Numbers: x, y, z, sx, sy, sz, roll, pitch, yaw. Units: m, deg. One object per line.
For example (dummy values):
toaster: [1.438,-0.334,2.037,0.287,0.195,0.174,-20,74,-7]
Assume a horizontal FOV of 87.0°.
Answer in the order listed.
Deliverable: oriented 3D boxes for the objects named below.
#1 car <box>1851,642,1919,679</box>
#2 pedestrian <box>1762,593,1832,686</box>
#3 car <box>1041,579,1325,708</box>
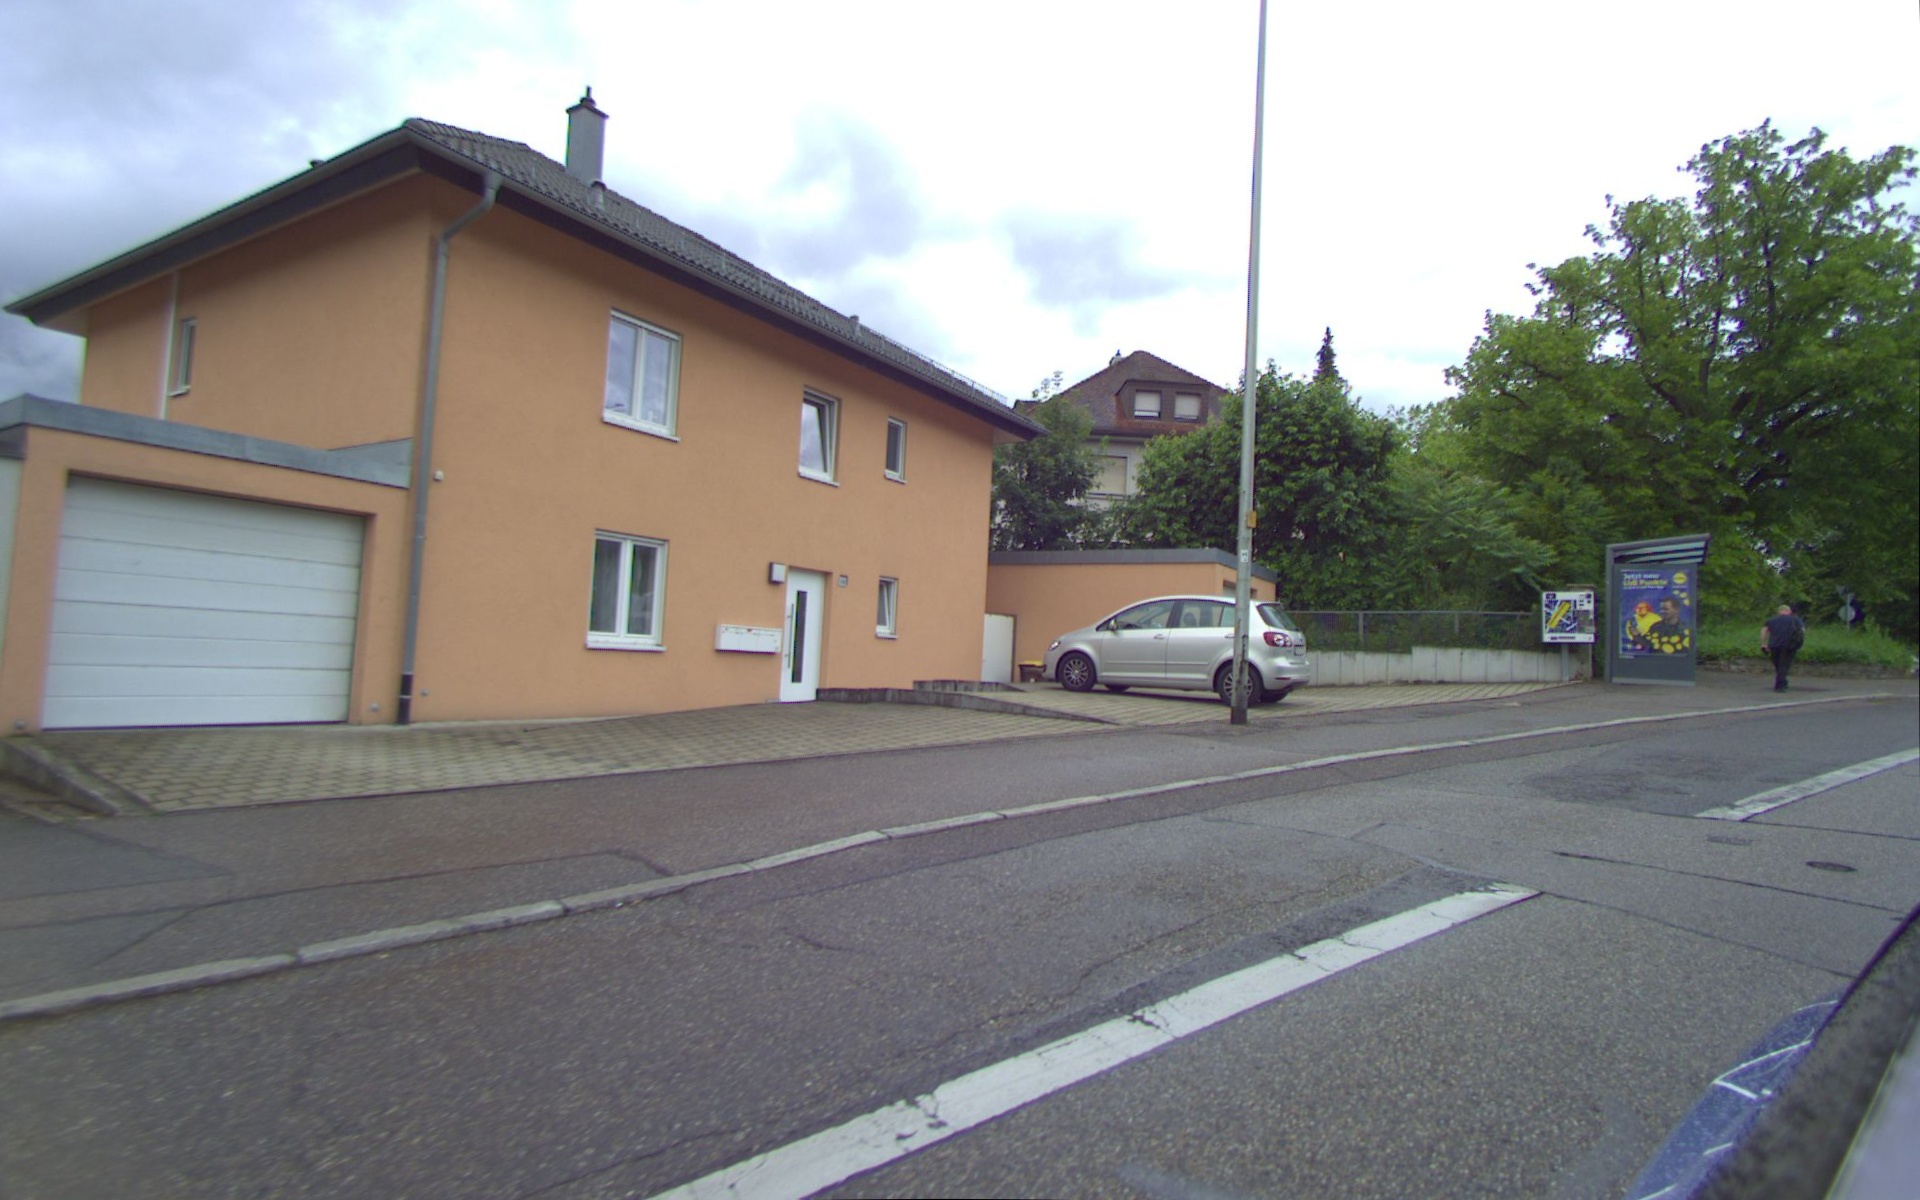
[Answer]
car: [39.423,2.507,41.810,1.833,1.433,4.372,2,-2,9]
pedestrian: [15.749,0.729,19.041,0.925,1.676,1.080,1,-1,44]
car: [3.362,0.581,15.423,3.842,1.585,1.707,4,0,32]
